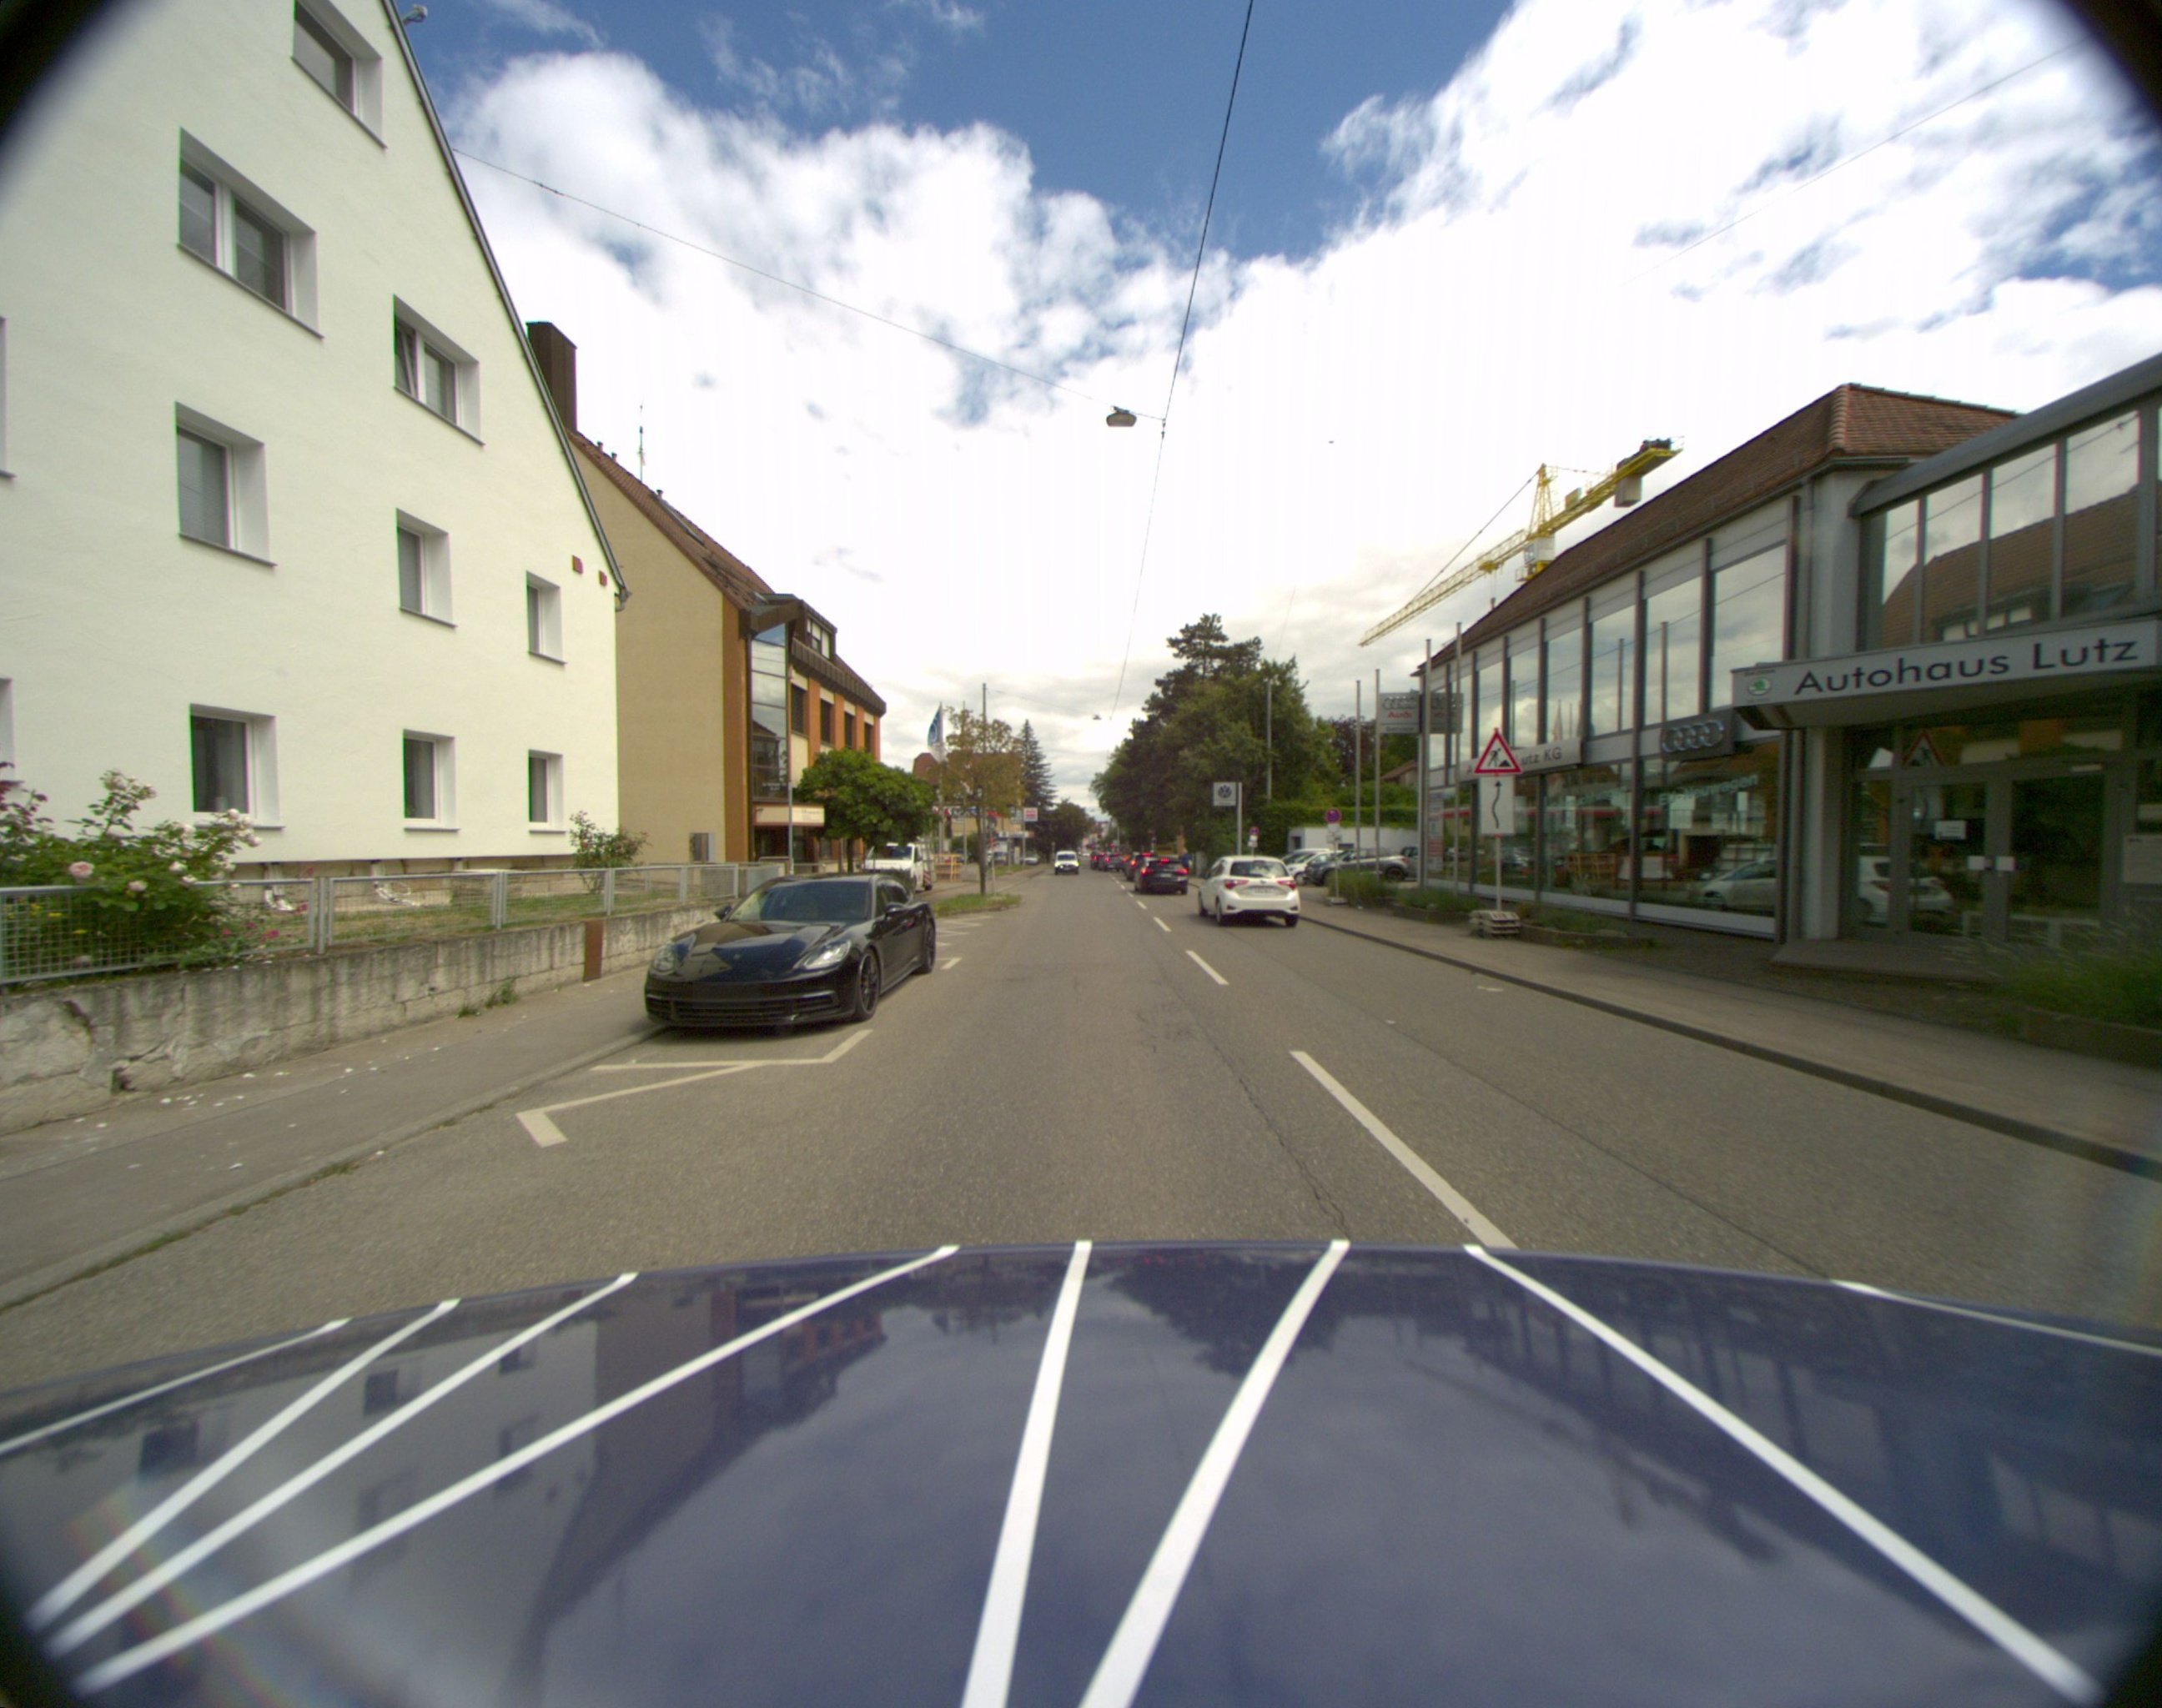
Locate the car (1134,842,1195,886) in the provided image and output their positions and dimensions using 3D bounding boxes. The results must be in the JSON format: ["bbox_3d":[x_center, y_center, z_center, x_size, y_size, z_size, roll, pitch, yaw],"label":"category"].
[{"bbox_3d":[3.175,0.339,29.691,1.836,1.514,4.169,-1,1,-1],"label":"car"}]

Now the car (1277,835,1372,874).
[{"bbox_3d":[11.081,0.016,34.670,3.749,1.551,1.534,-3,1,-1],"label":"car"}]

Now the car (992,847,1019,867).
[{"bbox_3d":[-6.842,0.243,69.021,1.619,1.587,4.160,5,1,4],"label":"car"}]

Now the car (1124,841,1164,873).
[{"bbox_3d":[3.468,0.146,42.422,1.836,1.620,4.320,-1,0,0],"label":"car"}]

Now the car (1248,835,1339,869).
[{"bbox_3d":[11.269,-0.115,40.544,4.300,1.631,1.903,-2,1,1],"label":"car"}]

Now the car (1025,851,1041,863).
[{"bbox_3d":[-5.876,0.337,93.044,1.789,1.309,4.479,0,1,-2],"label":"car"}]

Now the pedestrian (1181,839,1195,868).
[{"bbox_3d":[6.489,-0.051,46.175,0.684,1.727,0.868,-2,2,0],"label":"pedestrian"}]

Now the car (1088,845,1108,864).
[{"bbox_3d":[1.741,-0.010,80.722,1.913,1.940,4.912,-1,0,-1],"label":"car"}]

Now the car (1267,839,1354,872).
[{"bbox_3d":[11.282,0.078,37.455,3.749,1.509,1.728,-1,1,-1],"label":"car"}]

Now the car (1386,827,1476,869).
[{"bbox_3d":[14.982,-0.211,32.811,1.811,1.575,4.327,-4,0,0],"label":"car"}]

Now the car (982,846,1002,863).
[{"bbox_3d":[-9.206,0.011,78.677,1.639,1.520,4.201,3,2,-2],"label":"car"}]

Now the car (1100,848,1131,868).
[{"bbox_3d":[2.905,0.333,65.262,1.871,1.608,4.531,0,0,-7],"label":"car"}]

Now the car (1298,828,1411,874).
[{"bbox_3d":[11.337,-0.126,31.608,4.023,1.621,1.654,-3,1,-1],"label":"car"}]

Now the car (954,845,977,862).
[{"bbox_3d":[-11.727,-0.076,77.480,1.716,1.533,4.654,3,2,-1],"label":"car"}]

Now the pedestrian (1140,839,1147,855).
[{"bbox_3d":[7.456,-0.802,90.668,0.835,1.837,1.022,-2,2,4],"label":"pedestrian"}]

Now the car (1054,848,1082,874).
[{"bbox_3d":[-0.986,0.497,59.025,1.965,1.797,4.428,-3,2,1],"label":"car"}]

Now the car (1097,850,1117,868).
[{"bbox_3d":[2.416,0.457,71.610,1.870,1.518,4.527,-1,1,1],"label":"car"}]

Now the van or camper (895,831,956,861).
[{"bbox_3d":[-16.678,-0.830,81.702,5.975,2.834,2.530,3,1,-3],"label":"van or camper"}]

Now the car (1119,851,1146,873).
[{"bbox_3d":[3.670,0.550,54.518,1.744,1.421,4.523,0,1,1],"label":"car"}]

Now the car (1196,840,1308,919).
[{"bbox_3d":[3.768,0.475,17.387,1.694,1.570,3.798,-1,1,0],"label":"car"}]

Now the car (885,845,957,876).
[{"bbox_3d":[-9.450,0.353,44.714,4.306,1.621,1.639,2,1,36],"label":"car"}]

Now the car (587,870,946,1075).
[{"bbox_3d":[-2.989,1.026,8.581,1.989,1.440,4.750,-1,1,1],"label":"car"}]

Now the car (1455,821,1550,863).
[{"bbox_3d":[17.629,-0.459,31.965,1.811,1.575,3.804,-4,0,0],"label":"car"}]

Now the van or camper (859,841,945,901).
[{"bbox_3d":[-6.736,0.568,29.133,1.871,2.020,4.547,-2,2,4],"label":"van or camper"}]

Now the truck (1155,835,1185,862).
[{"bbox_3d":[8.659,-0.585,74.095,2.311,2.406,6.092,-2,2,2],"label":"truck"}]
